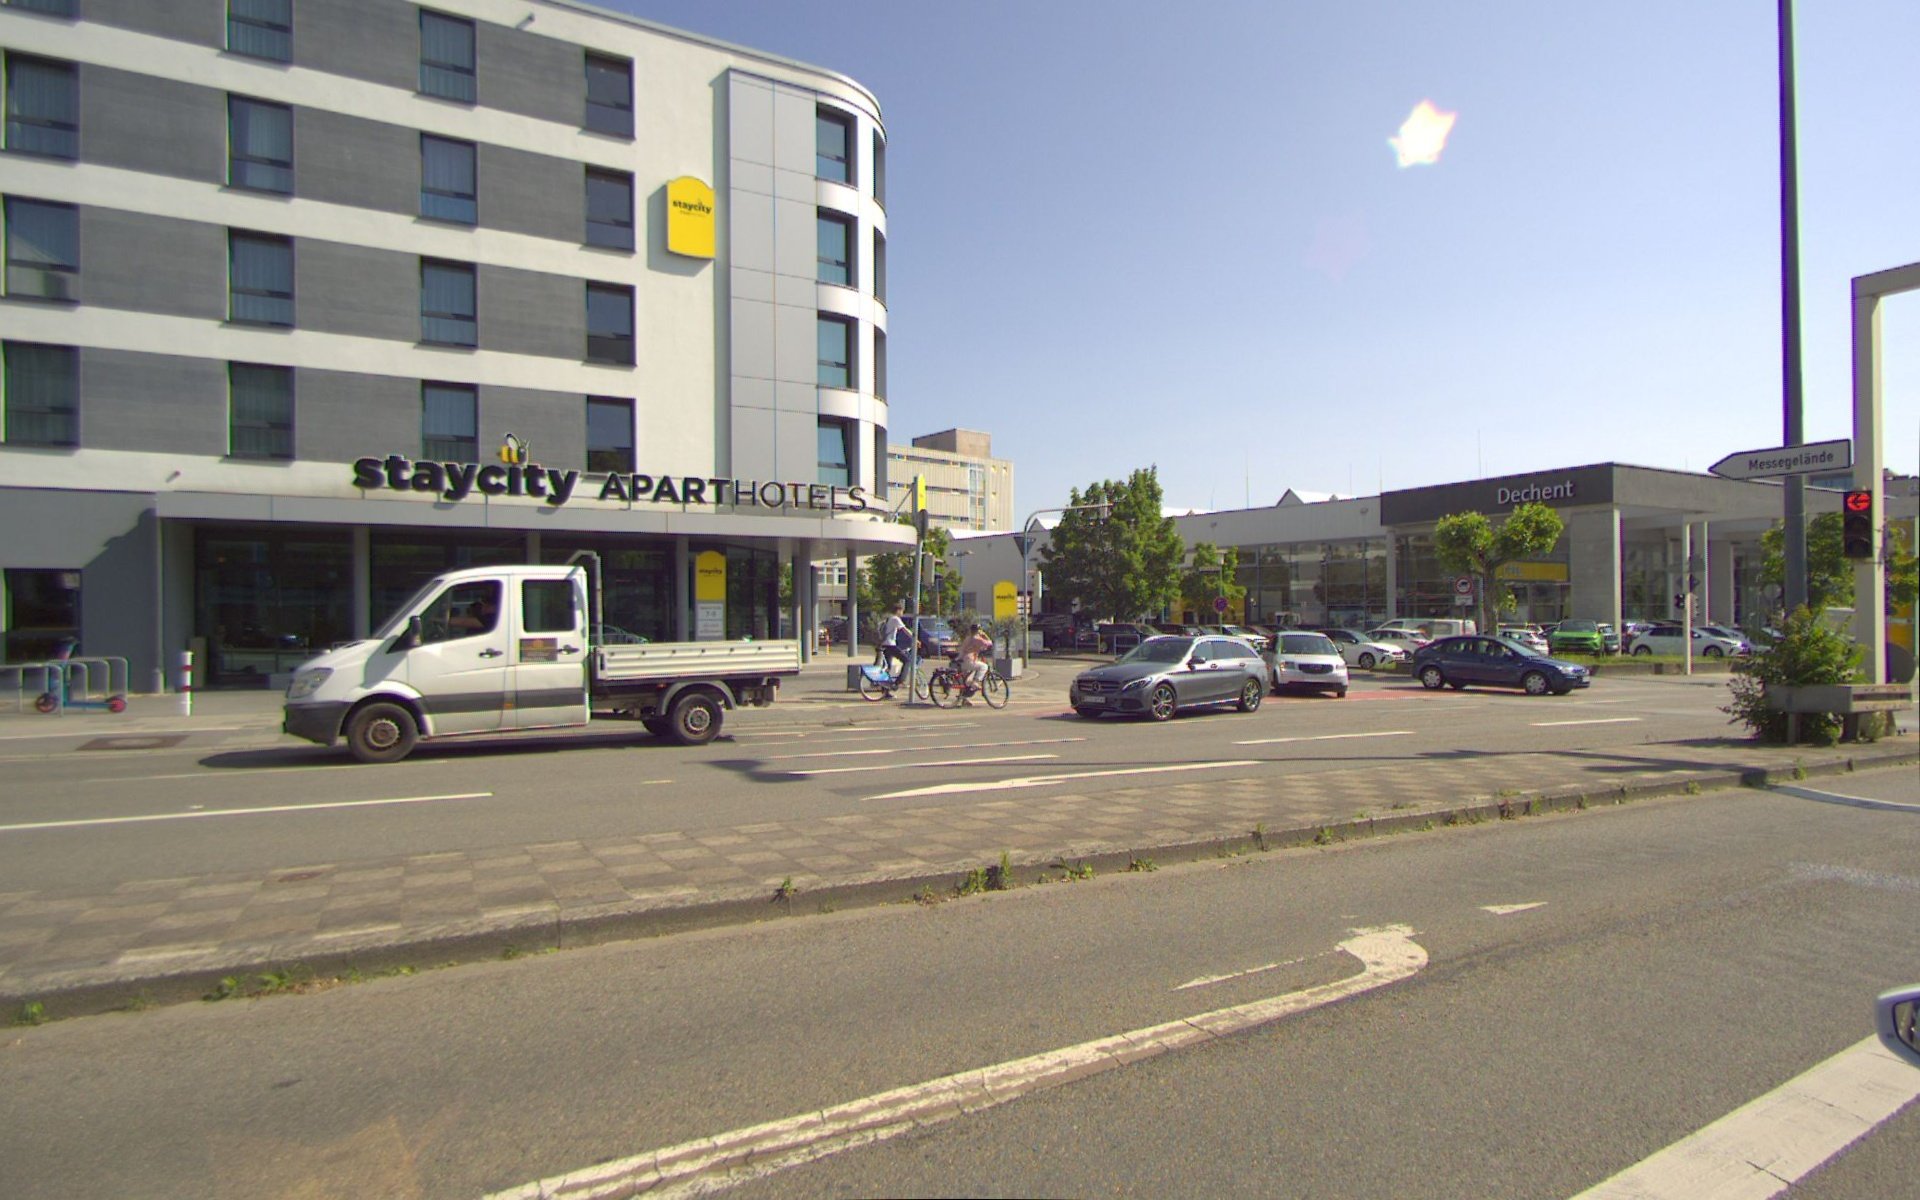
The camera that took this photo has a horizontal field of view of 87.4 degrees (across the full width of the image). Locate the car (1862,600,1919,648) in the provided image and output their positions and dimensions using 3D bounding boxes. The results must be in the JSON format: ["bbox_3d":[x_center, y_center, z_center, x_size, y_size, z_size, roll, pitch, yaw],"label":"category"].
[{"bbox_3d":[53.236,1.349,55.754,1.973,2.635,4.345,1,-1,-24],"label":"car"}]

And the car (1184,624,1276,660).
[{"bbox_3d":[13.795,2.113,51.436,1.980,1.719,4.328,1,-2,-35],"label":"car"}]

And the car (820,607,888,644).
[{"bbox_3d":[-6.727,1.603,63.553,1.985,2.158,4.565,2,0,-42],"label":"car"}]

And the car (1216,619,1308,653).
[{"bbox_3d":[15.811,1.875,52.692,1.982,1.719,4.324,1,-2,-37],"label":"car"}]

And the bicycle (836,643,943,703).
[{"bbox_3d":[-1.392,1.443,20.231,2.146,1.131,0.761,2,-2,-42],"label":"bicycle"}]

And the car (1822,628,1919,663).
[{"bbox_3d":[47.016,2.288,51.125,1.973,1.719,4.345,1,-1,-24],"label":"car"}]

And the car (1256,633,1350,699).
[{"bbox_3d":[8.489,1.588,25.159,1.742,1.457,3.918,0,-1,12],"label":"car"}]

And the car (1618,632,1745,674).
[{"bbox_3d":[30.365,2.204,42.349,1.981,1.620,3.959,1,-2,-36],"label":"car"}]

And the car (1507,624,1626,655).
[{"bbox_3d":[27.865,1.832,46.265,1.982,1.284,4.325,4,-4,-37],"label":"car"}]

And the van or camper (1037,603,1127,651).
[{"bbox_3d":[6.402,1.410,52.997,1.983,2.432,4.678,1,-2,-38],"label":"van or camper"}]

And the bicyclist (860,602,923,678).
[{"bbox_3d":[-1.374,0.799,20.227,1.019,1.479,0.761,1,-2,-42],"label":"bicyclist"}]

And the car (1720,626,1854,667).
[{"bbox_3d":[37.437,2.075,45.593,1.978,1.719,4.333,2,-1,-32],"label":"car"}]

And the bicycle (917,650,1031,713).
[{"bbox_3d":[0.289,1.555,19.514,2.136,1.131,0.764,1,-1,-31],"label":"bicycle"}]

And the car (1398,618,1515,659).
[{"bbox_3d":[22.282,1.698,45.223,1.982,1.719,4.323,1,-2,-38],"label":"car"}]

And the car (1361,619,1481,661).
[{"bbox_3d":[19.832,1.699,43.380,1.982,1.719,4.323,1,-2,-38],"label":"car"}]

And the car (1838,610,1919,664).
[{"bbox_3d":[49.086,1.933,52.391,2.096,2.720,4.490,1,-1,-21],"label":"car"}]

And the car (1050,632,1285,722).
[{"bbox_3d":[3.927,1.329,18.542,4.551,1.446,1.938,1,-3,-42],"label":"car"}]

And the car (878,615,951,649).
[{"bbox_3d":[-2.748,1.879,59.449,1.971,1.815,4.376,2,0,-42],"label":"car"}]

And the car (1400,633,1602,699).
[{"bbox_3d":[14.307,1.680,26.758,1.983,1.466,4.323,2,-1,-38],"label":"car"}]

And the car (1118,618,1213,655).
[{"bbox_3d":[9.841,1.727,48.375,1.980,1.719,4.328,1,-2,-35],"label":"car"}]

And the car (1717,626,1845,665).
[{"bbox_3d":[38.837,2.128,47.611,1.978,1.719,4.333,1,-2,-32],"label":"car"}]

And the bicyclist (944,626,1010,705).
[{"bbox_3d":[0.328,1.252,19.526,1.015,1.480,0.764,1,0,-31],"label":"bicyclist"}]

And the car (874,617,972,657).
[{"bbox_3d":[-1.739,1.640,45.776,1.984,1.737,4.773,1,-2,-40],"label":"car"}]

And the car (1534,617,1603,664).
[{"bbox_3d":[23.992,1.605,39.716,1.870,1.756,3.293,0,-3,23],"label":"car"}]

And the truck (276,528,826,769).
[{"bbox_3d":[-5.185,0.609,13.424,6.364,2.578,2.345,1,-2,-32],"label":"truck"}]

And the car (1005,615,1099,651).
[{"bbox_3d":[4.563,1.634,50.243,4.304,1.719,1.991,-1,-2,39],"label":"car"}]

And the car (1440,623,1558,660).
[{"bbox_3d":[24.550,1.866,45.878,1.982,1.612,4.325,1,-2,-37],"label":"car"}]

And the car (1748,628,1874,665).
[{"bbox_3d":[41.619,2.228,49.207,1.978,1.719,4.333,1,-2,-32],"label":"car"}]

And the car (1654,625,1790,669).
[{"bbox_3d":[32.849,1.990,43.405,1.978,1.789,4.274,1,-2,-32],"label":"car"}]

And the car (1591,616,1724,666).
[{"bbox_3d":[27.350,1.571,39.492,1.978,1.862,3.849,1,-2,-32],"label":"car"}]

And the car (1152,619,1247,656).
[{"bbox_3d":[11.756,1.804,49.536,1.980,1.719,4.328,1,-2,-35],"label":"car"}]

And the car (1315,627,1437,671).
[{"bbox_3d":[17.123,1.984,41.530,1.980,1.719,4.328,1,-2,-35],"label":"car"}]

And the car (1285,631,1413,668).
[{"bbox_3d":[15.076,1.903,39.119,1.980,1.317,4.328,1,-2,-35],"label":"car"}]

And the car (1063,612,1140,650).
[{"bbox_3d":[7.754,1.687,55.301,1.983,2.040,3.956,1,-2,-38],"label":"car"}]

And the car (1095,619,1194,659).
[{"bbox_3d":[8.388,1.744,45.954,1.980,1.719,4.328,1,-2,-35],"label":"car"}]
